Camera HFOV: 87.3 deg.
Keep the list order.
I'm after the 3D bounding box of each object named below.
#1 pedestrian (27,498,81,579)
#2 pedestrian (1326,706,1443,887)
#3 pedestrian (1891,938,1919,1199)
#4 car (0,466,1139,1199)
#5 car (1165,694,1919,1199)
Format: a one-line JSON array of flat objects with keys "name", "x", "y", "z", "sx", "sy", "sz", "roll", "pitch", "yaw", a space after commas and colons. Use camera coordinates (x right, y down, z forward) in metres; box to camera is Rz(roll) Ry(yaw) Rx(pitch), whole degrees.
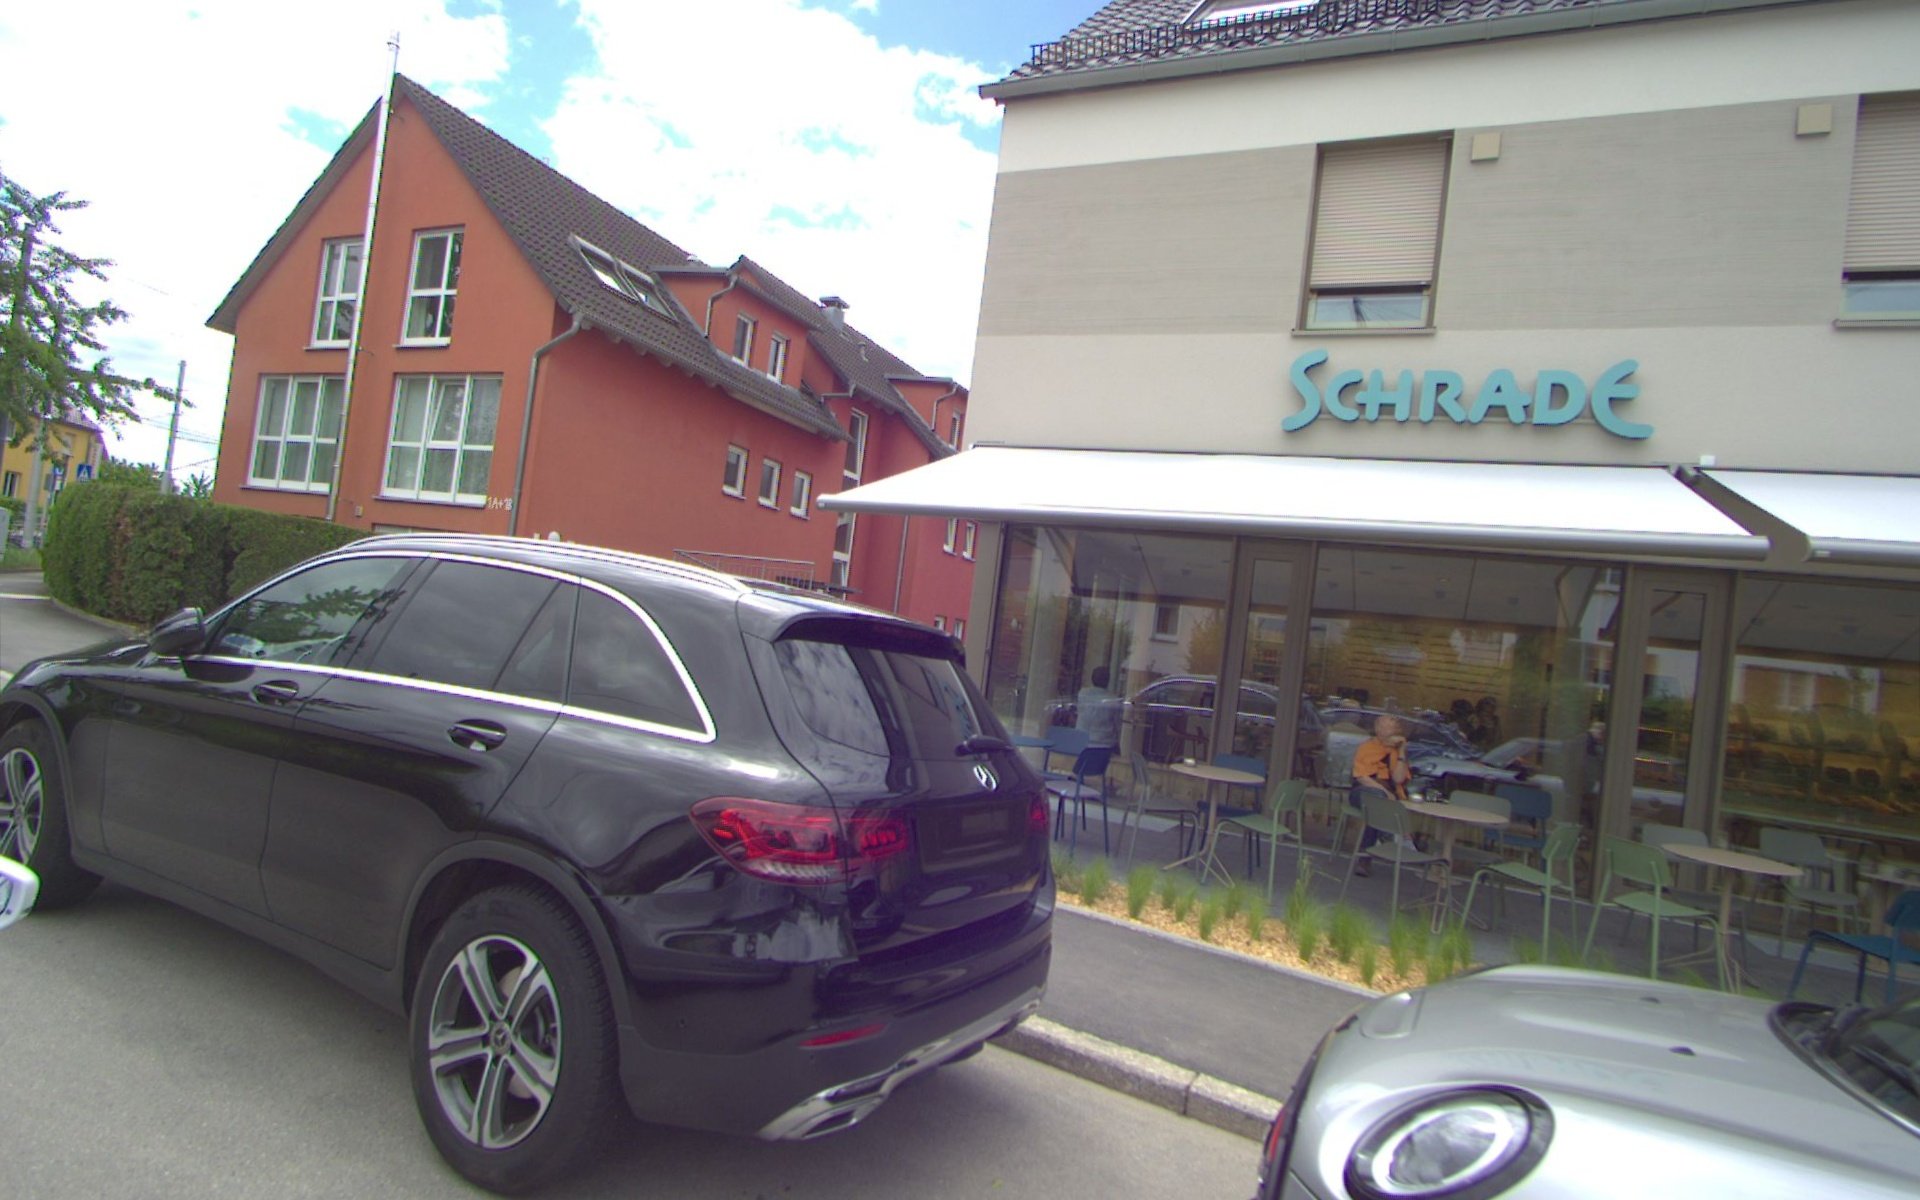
[{"name": "pedestrian", "x": -22.870, "y": -1.538, "z": 25.413, "sx": 0.618, "sy": 1.937, "sz": 0.826, "roll": 7, "pitch": -1, "yaw": -24}, {"name": "pedestrian", "x": 3.358, "y": 1.512, "z": 7.963, "sx": 0.679, "sy": 1.252, "sz": 0.753, "roll": 7, "pitch": -2, "yaw": 24}, {"name": "pedestrian", "x": 3.399, "y": 1.225, "z": 2.993, "sx": 0.649, "sy": 1.688, "sz": 0.677, "roll": 7, "pitch": -1, "yaw": 30}, {"name": "car", "x": -1.799, "y": 0.595, "z": 3.849, "sx": 4.388, "sy": 1.654, "sz": 1.854, "roll": 7, "pitch": -3, "yaw": 28}, {"name": "car", "x": 2.401, "y": 1.181, "z": 1.552, "sx": 3.769, "sy": 1.468, "sz": 1.713, "roll": 6, "pitch": -3, "yaw": 29}]
